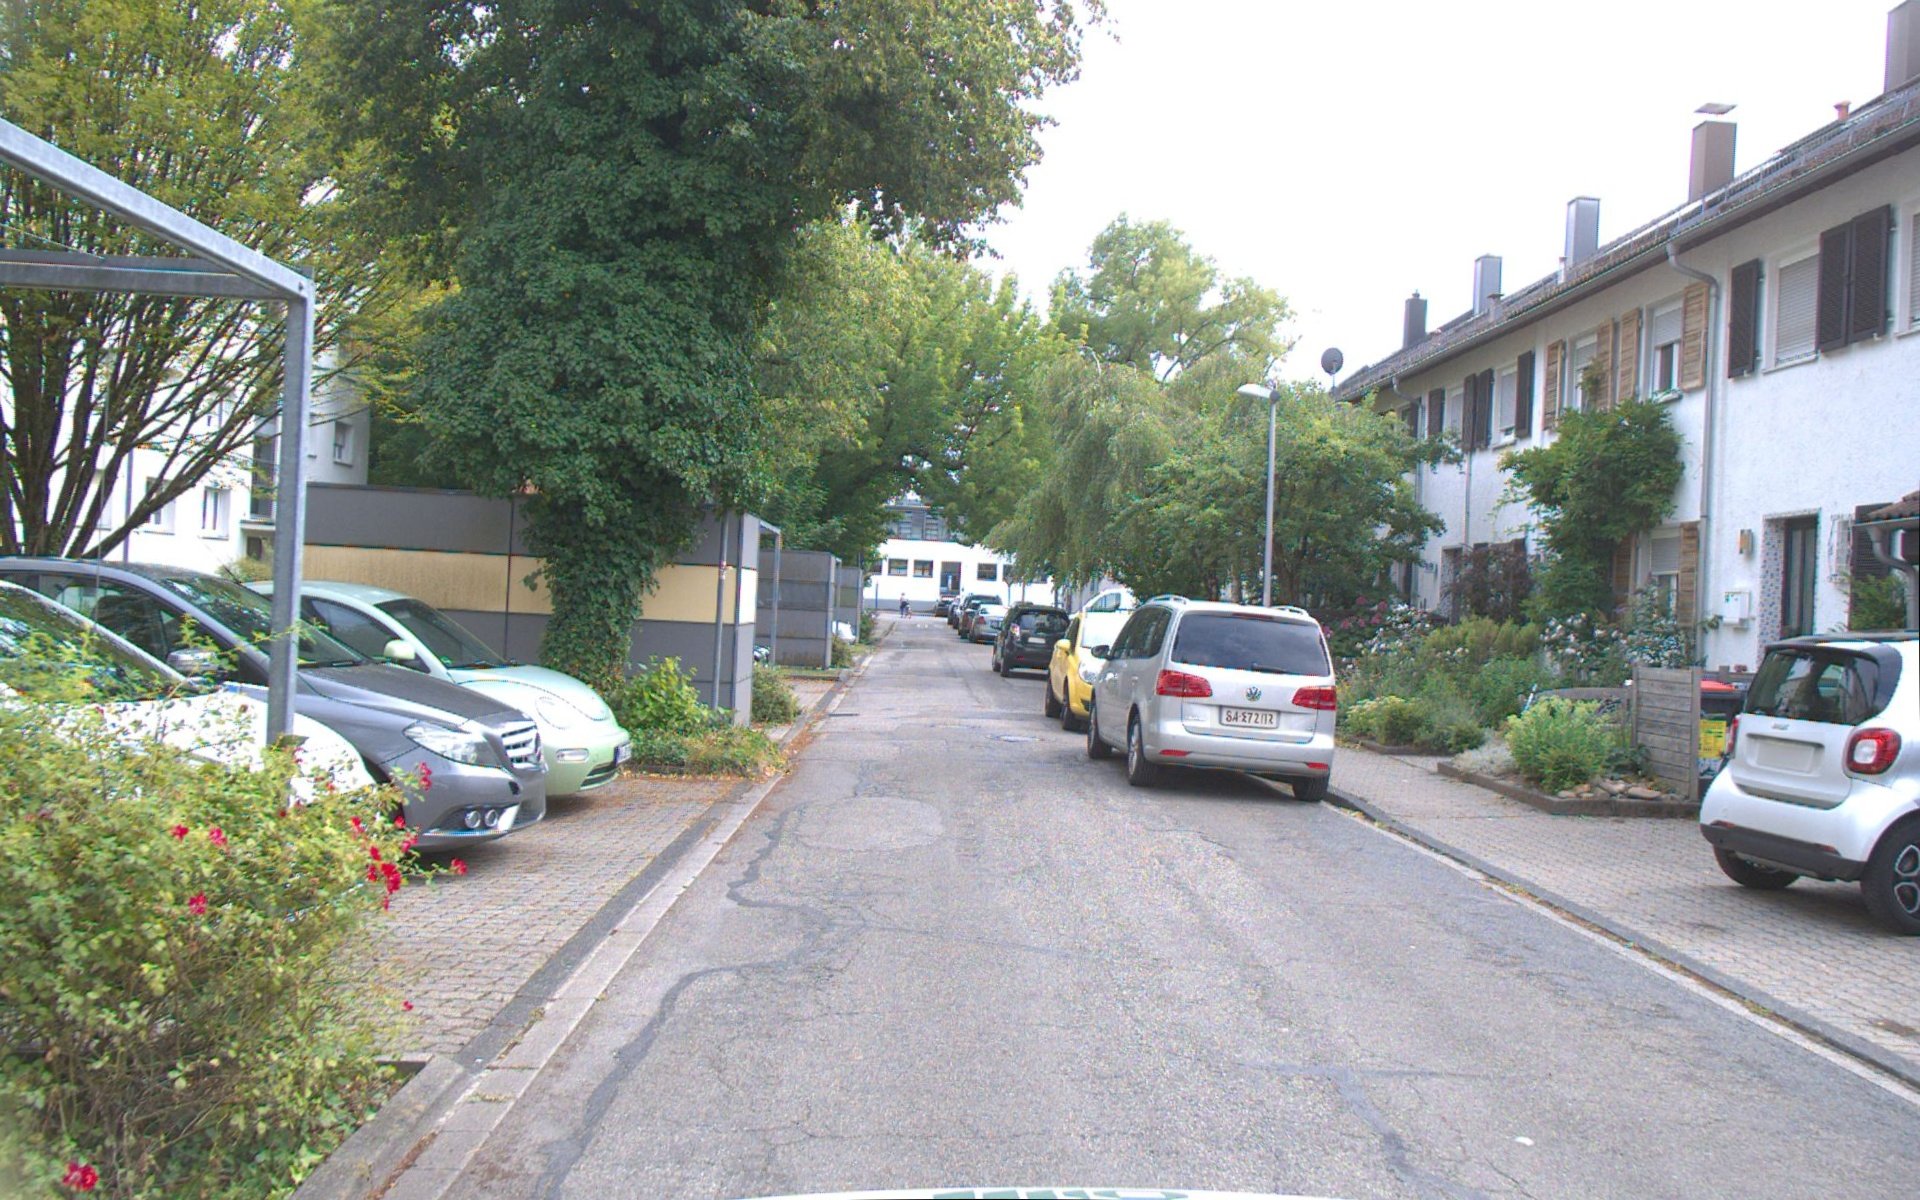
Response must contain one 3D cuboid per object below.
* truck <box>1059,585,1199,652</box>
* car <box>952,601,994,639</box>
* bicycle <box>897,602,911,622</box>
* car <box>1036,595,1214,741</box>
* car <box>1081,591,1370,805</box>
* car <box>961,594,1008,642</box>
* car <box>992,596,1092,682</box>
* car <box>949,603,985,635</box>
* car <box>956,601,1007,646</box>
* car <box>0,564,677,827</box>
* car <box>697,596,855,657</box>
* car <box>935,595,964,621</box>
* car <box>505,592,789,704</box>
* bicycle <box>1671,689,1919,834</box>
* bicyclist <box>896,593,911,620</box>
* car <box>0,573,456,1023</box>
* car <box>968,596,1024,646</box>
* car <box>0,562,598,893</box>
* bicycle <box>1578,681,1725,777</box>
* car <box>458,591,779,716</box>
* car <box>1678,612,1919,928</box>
[{"bbox_3d":[5.496,0.598,54.048,4.302,2.049,1.999,1,0,-2],"label":"truck"},{"bbox_3d":[0.657,1.029,85.682,1.953,1.749,4.193,4,0,-1],"label":"car"},{"bbox_3d":[-3.414,0.711,100.829,0.675,1.151,2.577,4,0,-4],"label":"bicycle"},{"bbox_3d":[2.086,0.818,21.933,1.788,1.608,3.999,5,0,-1],"label":"car"},{"bbox_3d":[2.322,0.796,15.523,1.789,1.608,3.998,5,0,-3],"label":"car"},{"bbox_3d":[1.031,0.758,72.473,1.788,1.915,3.999,5,0,-1],"label":"car"},{"bbox_3d":[1.720,0.785,35.832,1.788,1.608,4.192,5,0,-1],"label":"car"},{"bbox_3d":[0.411,1.141,100.890,1.953,1.749,4.193,4,0,-1],"label":"car"},{"bbox_3d":[0.832,0.929,66.436,1.788,1.608,3.999,5,0,-1],"label":"car"},{"bbox_3d":[-4.266,0.596,11.316,4.323,1.528,1.840,2,0,-2],"label":"car"},{"bbox_3d":[-4.785,0.682,43.350,3.950,1.418,1.737,2,0,-3],"label":"car"},{"bbox_3d":[-0.725,0.543,113.128,1.788,1.608,3.999,5,0,-1],"label":"car"},{"bbox_3d":[-4.606,0.697,24.761,3.907,1.489,1.737,2,0,-3],"label":"car"},{"bbox_3d":[6.308,1.208,12.500,1.592,1.006,0.614,1,0,-2],"label":"bicycle"},{"bbox_3d":[-3.445,0.397,100.897,0.783,1.537,0.933,4,-1,-4],"label":"bicyclist"},{"bbox_3d":[-4.209,0.624,6.438,3.906,1.485,1.795,2,0,-2],"label":"car"},{"bbox_3d":[1.281,0.745,60.719,1.788,1.608,3.999,5,0,-1],"label":"car"},{"bbox_3d":[-4.328,0.591,8.906,4.323,1.528,1.840,2,0,-2],"label":"car"},{"bbox_3d":[7.079,1.315,16.933,1.348,0.912,0.431,-1,0,-7],"label":"bicycle"},{"bbox_3d":[-4.458,0.689,22.054,3.907,1.489,1.737,2,0,-3],"label":"car"},{"bbox_3d":[5.857,0.890,9.416,2.761,1.596,1.739,1,0,-4],"label":"car"}]
